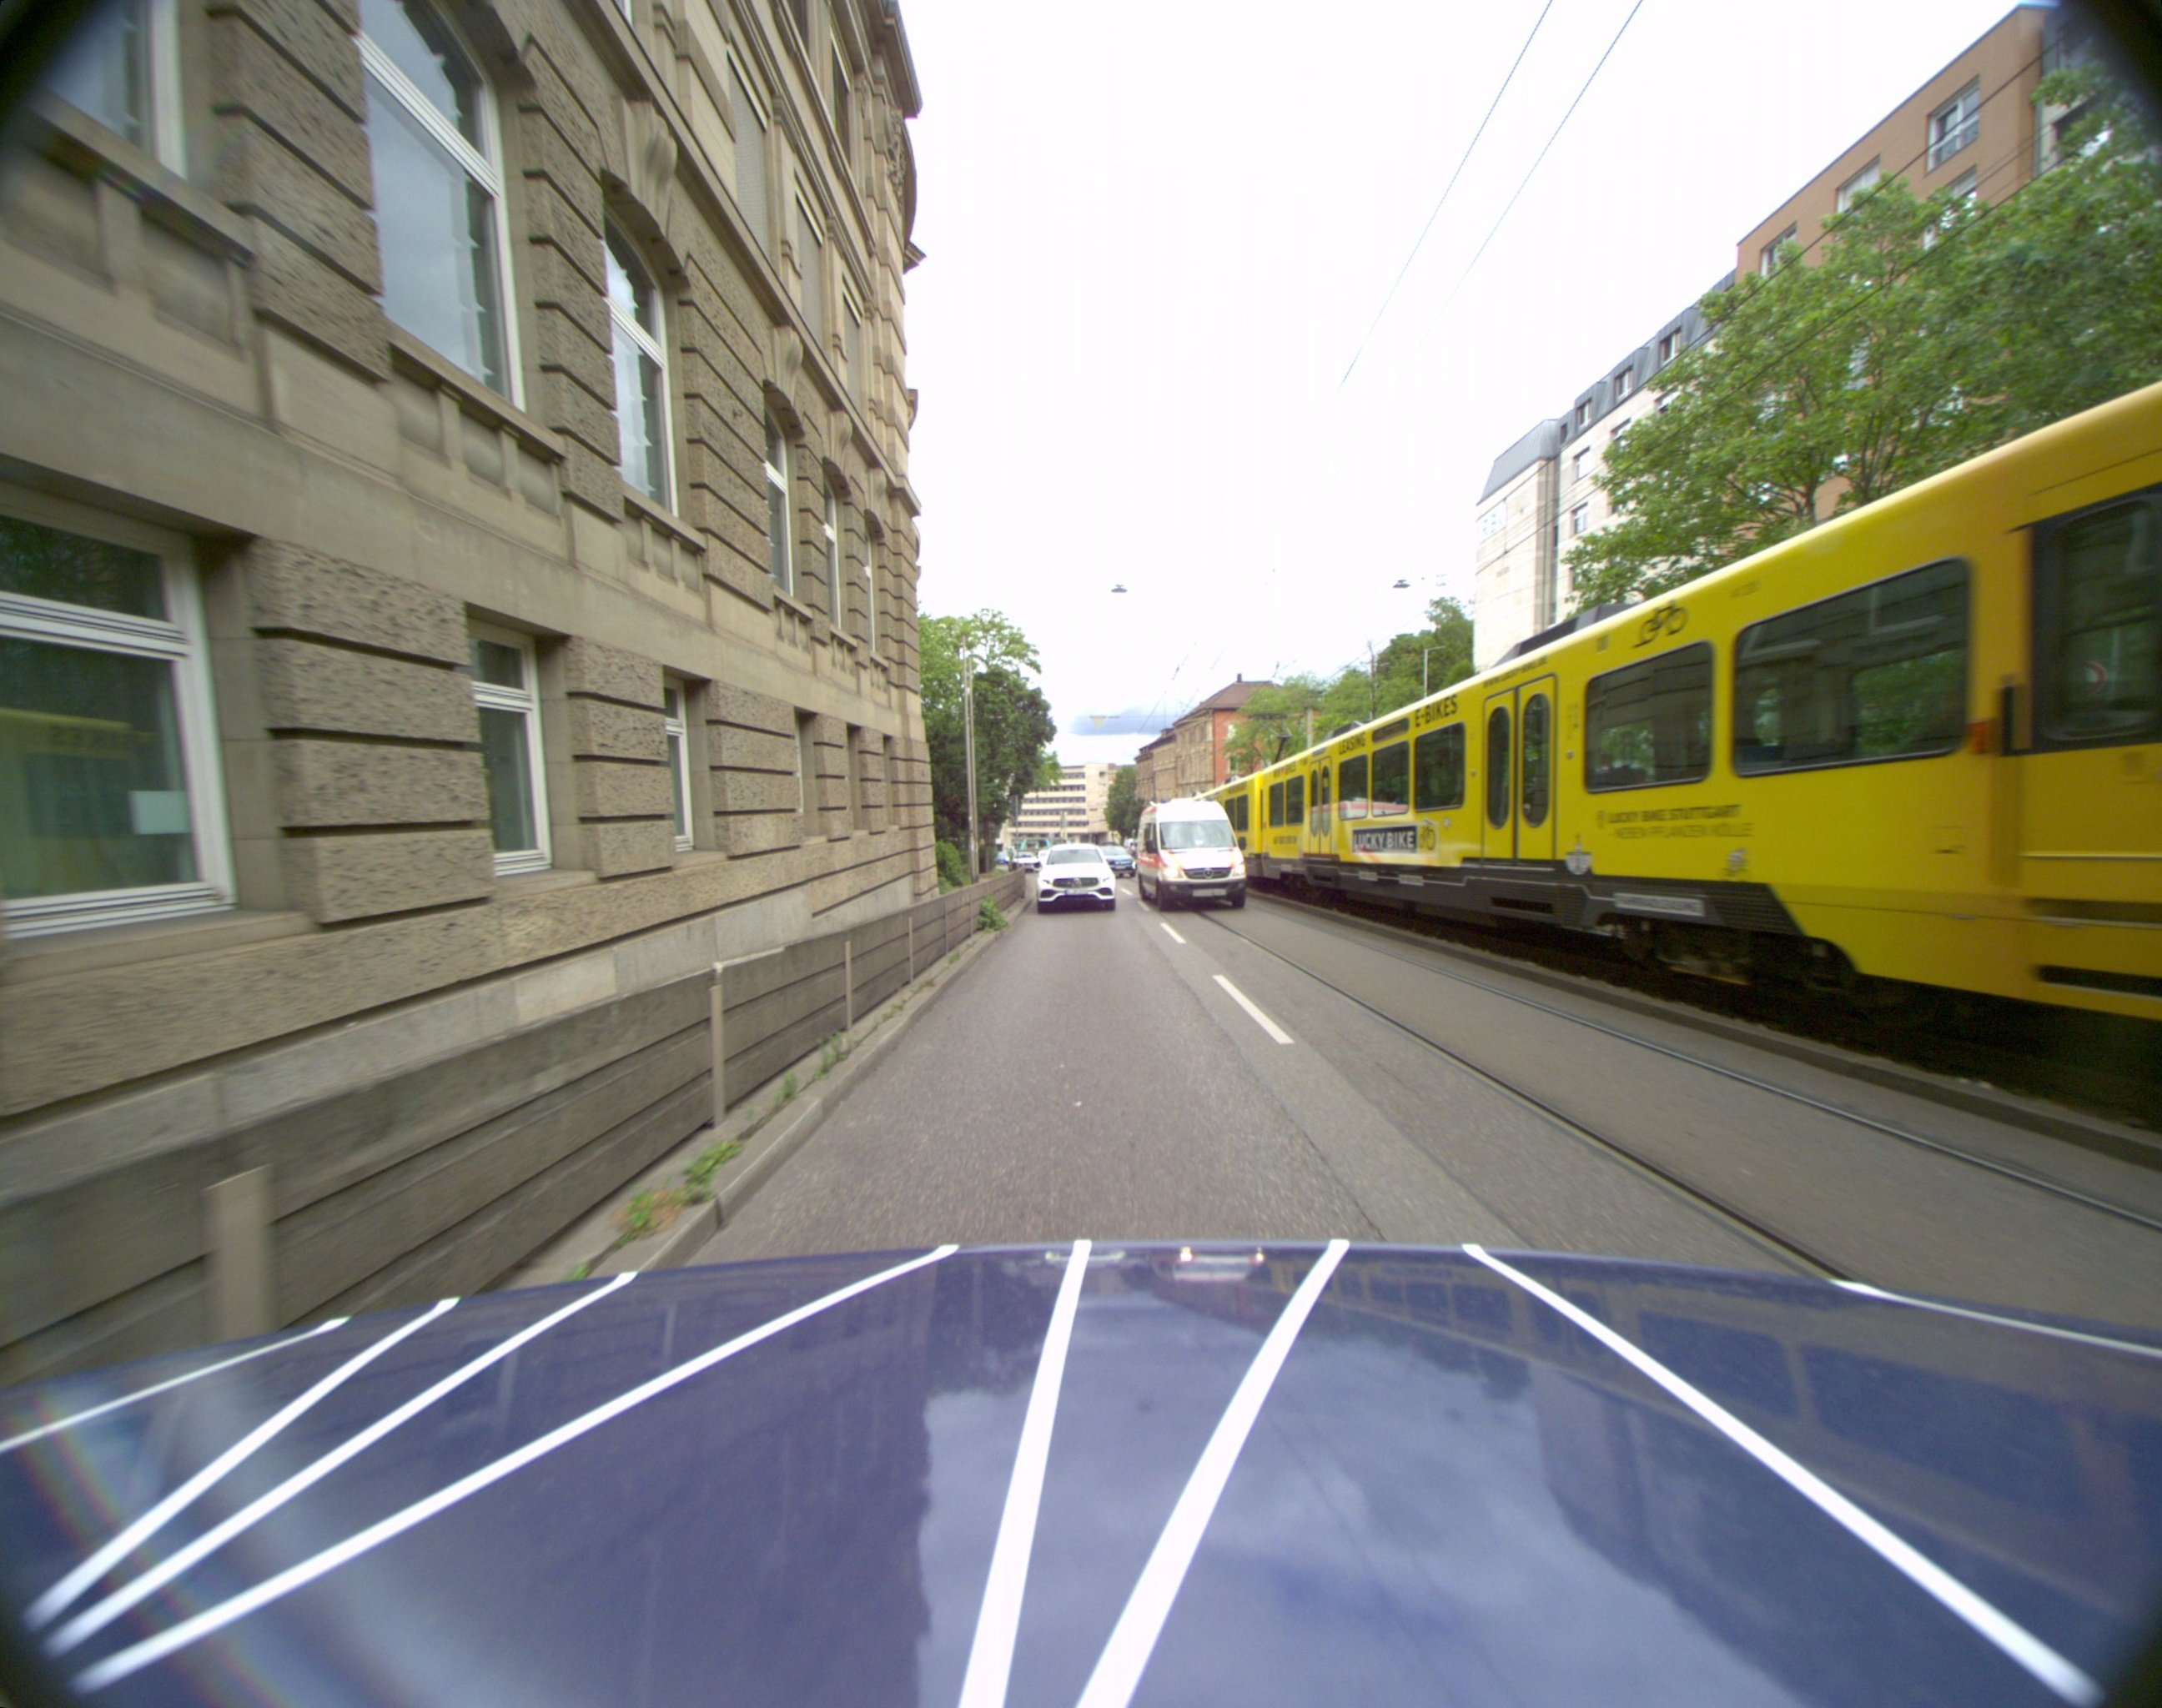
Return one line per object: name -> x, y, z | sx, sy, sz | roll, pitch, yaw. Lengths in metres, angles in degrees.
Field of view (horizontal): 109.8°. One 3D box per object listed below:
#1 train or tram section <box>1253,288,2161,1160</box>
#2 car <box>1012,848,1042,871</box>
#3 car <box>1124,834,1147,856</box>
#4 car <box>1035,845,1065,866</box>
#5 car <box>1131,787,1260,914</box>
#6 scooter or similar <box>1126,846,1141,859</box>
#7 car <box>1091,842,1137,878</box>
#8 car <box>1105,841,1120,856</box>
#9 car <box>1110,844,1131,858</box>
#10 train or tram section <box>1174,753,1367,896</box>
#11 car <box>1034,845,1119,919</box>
train or tram section -> 6.113, -0.701, 11.193 | 2.883, 3.704, 18.699 | -3, 1, 0
car -> -3.708, 0.350, 51.833 | 1.823, 1.441, 3.850 | -1, 0, -7
car -> 7.267, -1.193, 102.167 | 2.215, 2.806, 4.781 | -1, 1, -6
car -> -2.458, 0.094, 59.445 | 1.999, 1.543, 4.314 | -3, 1, -5
car -> 2.684, -0.100, 19.384 | 2.039, 2.684, 5.852 | -2, 1, -3
scooter or similar -> 5.452, -0.116, 78.247 | 1.501, 1.288, 0.532 | -2, 1, -35
car -> 1.578, 0.251, 37.854 | 1.931, 1.563, 4.179 | -4, 1, -1
car -> 5.106, -0.886, 122.858 | 1.872, 2.250, 4.747 | -1, 1, -4
car -> 4.982, -0.365, 96.533 | 2.000, 1.658, 3.997 | -3, 1, -7
train or tram section -> 6.035, -0.873, 27.914 | 2.890, 3.704, 14.851 | -3, 1, -1
car -> -0.095, 0.627, 19.658 | 1.894, 1.610, 4.478 | -2, 0, 0
